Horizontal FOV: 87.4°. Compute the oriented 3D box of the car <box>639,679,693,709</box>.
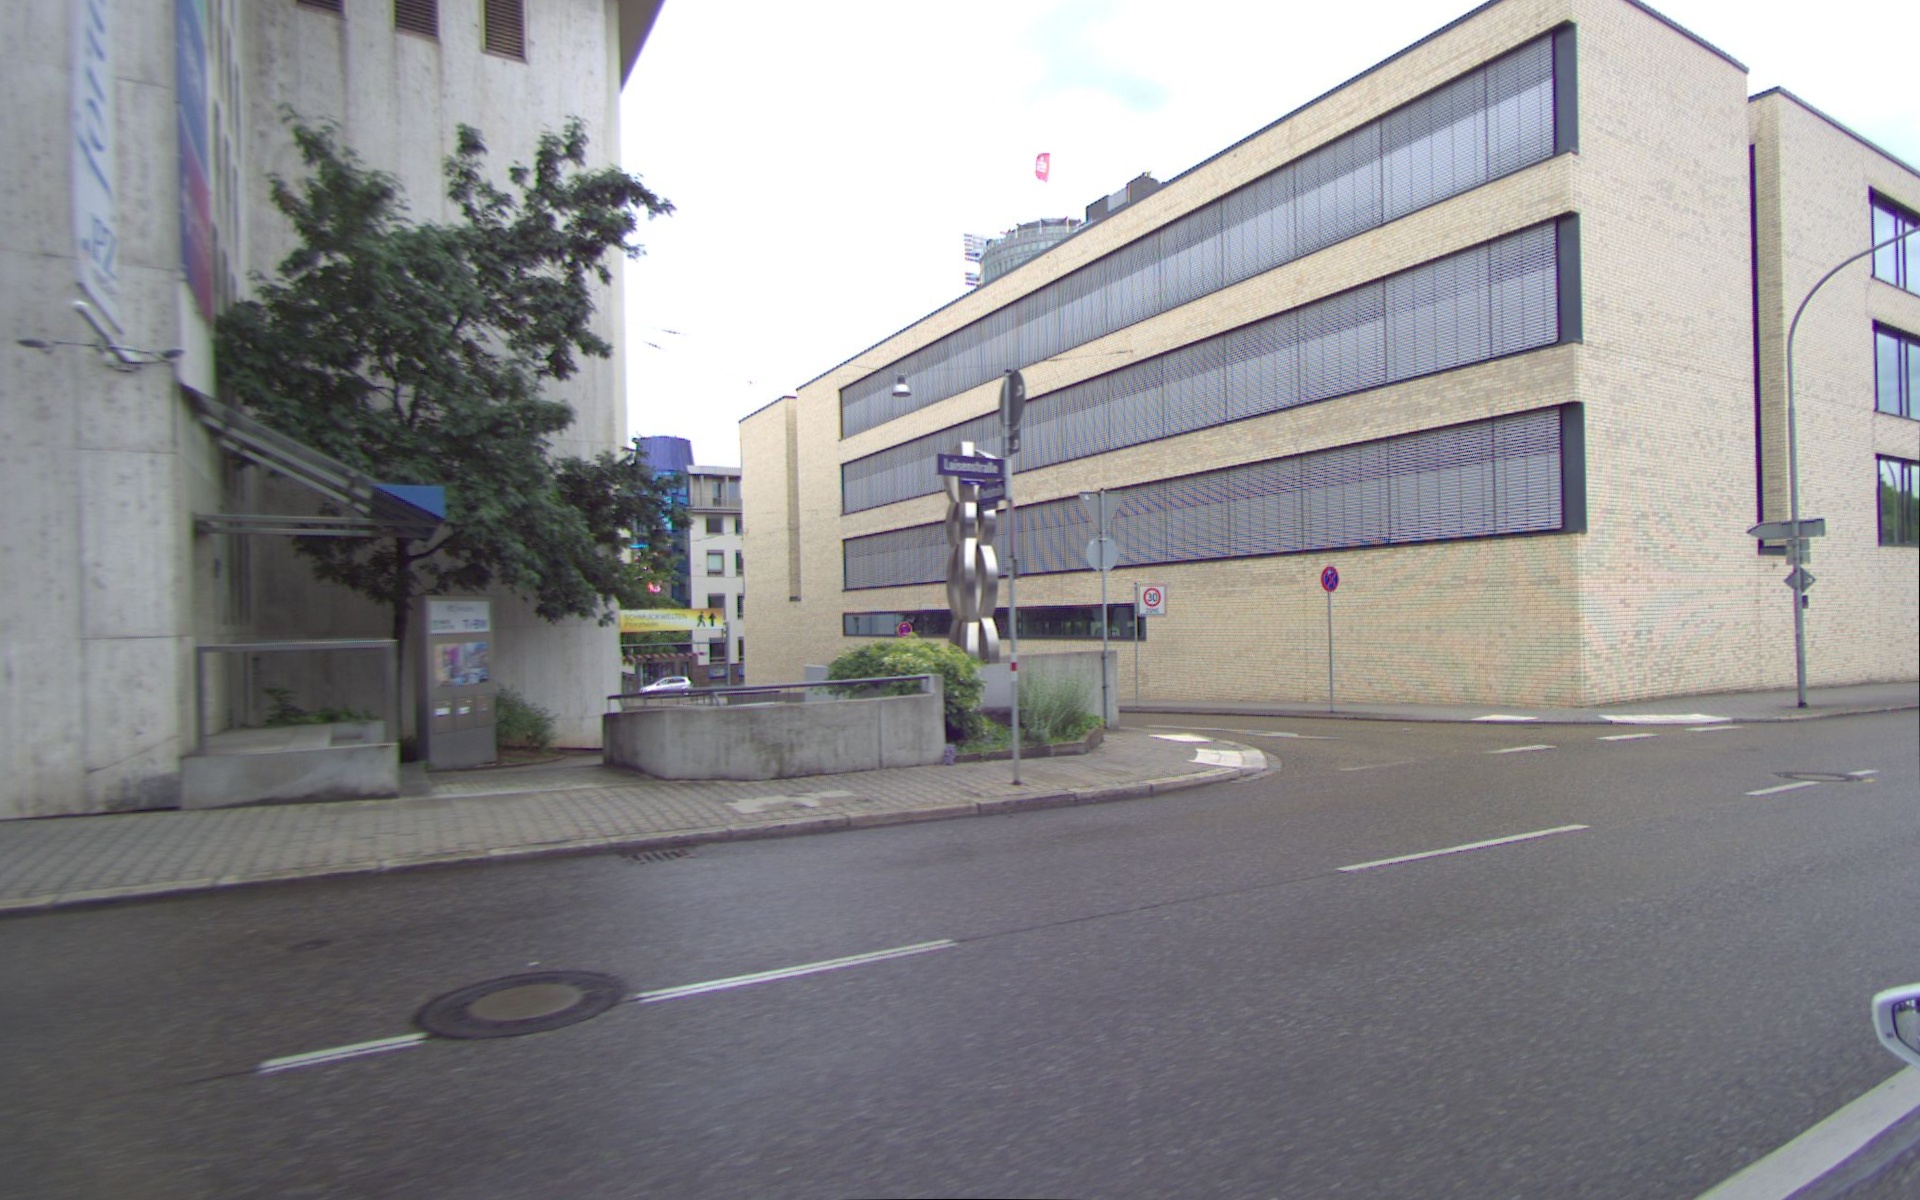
[{"bbox_3d":[-22.618,7.196,77.252,3.721,2.040,1.988,2,0,-25],"label":"car"}]
